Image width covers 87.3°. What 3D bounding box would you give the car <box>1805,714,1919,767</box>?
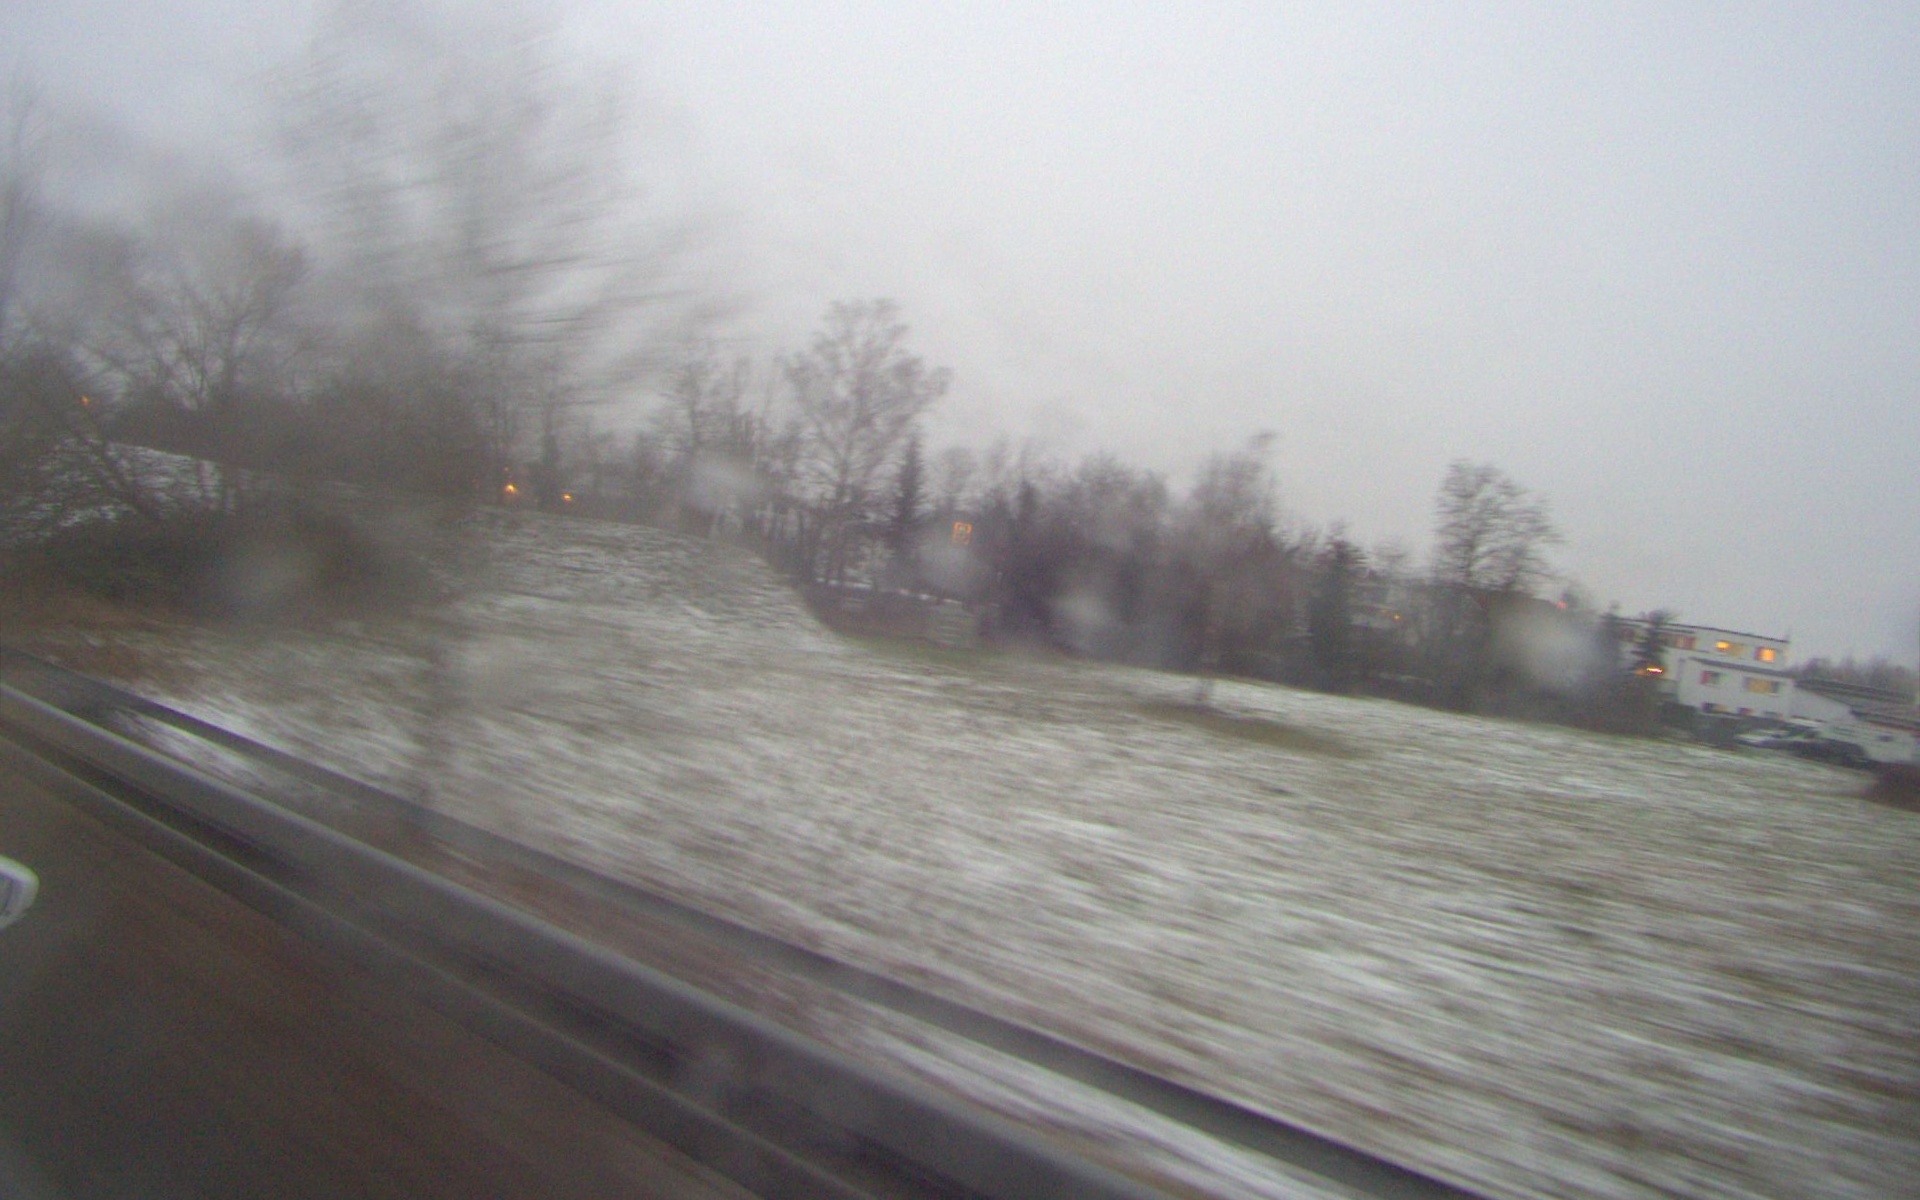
[{"bbox_3d":[69.911,10.856,78.128,2.260,2.875,6.090,7,0,-18],"label":"car"}]

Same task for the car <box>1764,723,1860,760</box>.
[{"bbox_3d":[65.707,10.898,77.683,2.260,1.841,5.101,7,0,-18],"label":"car"}]

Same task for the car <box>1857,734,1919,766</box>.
[{"bbox_3d":[74.923,12.042,79.764,2.260,1.841,5.101,7,0,-18],"label":"car"}]
